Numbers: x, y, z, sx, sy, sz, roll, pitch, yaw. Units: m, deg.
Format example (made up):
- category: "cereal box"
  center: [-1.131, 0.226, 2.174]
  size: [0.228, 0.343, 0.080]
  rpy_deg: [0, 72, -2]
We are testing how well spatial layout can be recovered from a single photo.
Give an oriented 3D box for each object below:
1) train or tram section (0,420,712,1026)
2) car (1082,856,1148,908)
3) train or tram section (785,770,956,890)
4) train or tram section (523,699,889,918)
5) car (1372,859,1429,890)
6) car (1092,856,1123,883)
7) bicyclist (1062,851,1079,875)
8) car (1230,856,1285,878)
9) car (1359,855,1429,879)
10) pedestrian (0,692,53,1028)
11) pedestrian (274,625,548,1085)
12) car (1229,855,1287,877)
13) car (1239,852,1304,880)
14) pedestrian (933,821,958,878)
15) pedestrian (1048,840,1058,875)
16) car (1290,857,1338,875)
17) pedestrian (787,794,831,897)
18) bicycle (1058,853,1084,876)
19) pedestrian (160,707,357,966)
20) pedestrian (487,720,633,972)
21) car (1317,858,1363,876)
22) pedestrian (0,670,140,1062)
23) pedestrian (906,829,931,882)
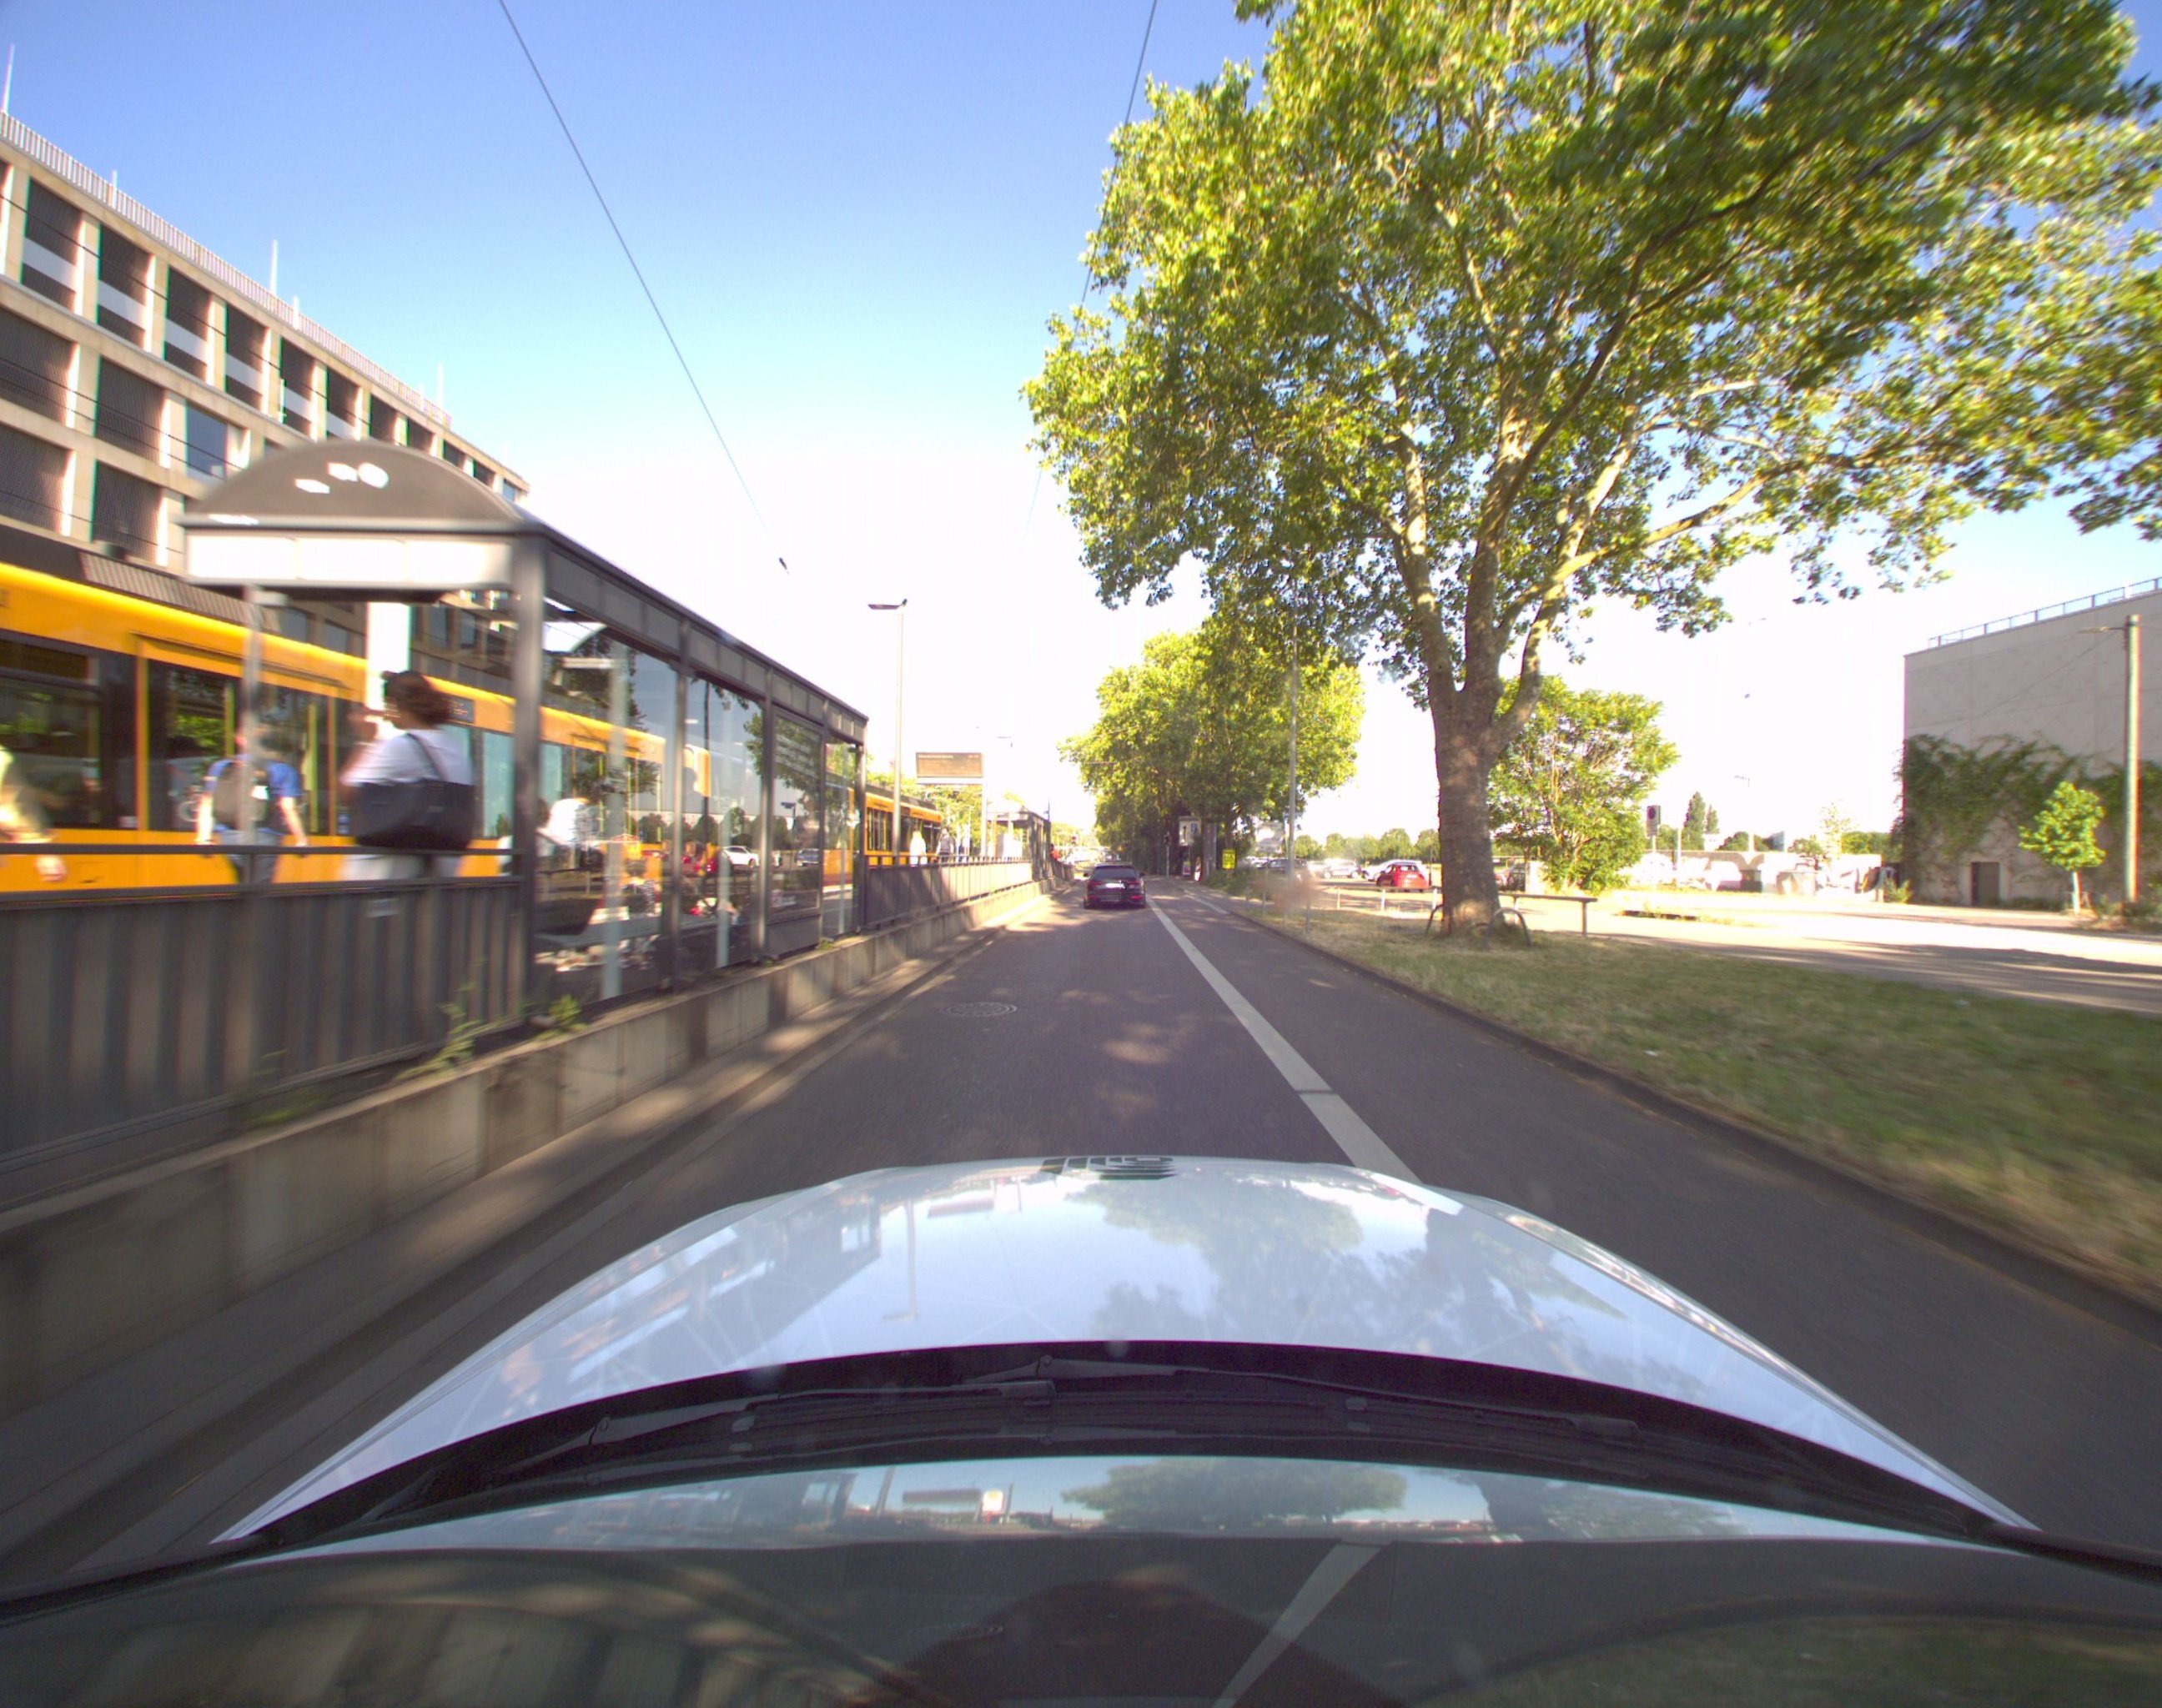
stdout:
- category: "train or tram section"
  center: [-8.426, -0.845, 7.323]
  size: [3.297, 3.829, 14.223]
  rpy_deg: [1, 0, 2]
- category: "car"
  center: [0.990, 0.821, 25.466]
  size: [1.872, 1.457, 3.355]
  rpy_deg: [-1, 0, -1]
- category: "train or tram section"
  center: [-7.736, -0.756, 32.322]
  size: [3.297, 3.829, 11.847]
  rpy_deg: [1, 0, 2]
- category: "train or tram section"
  center: [-8.068, -0.795, 20.408]
  size: [3.297, 3.829, 11.847]
  rpy_deg: [1, 0, 2]
- category: "car"
  center: [16.795, 1.038, 42.956]
  size: [1.608, 1.515, 3.805]
  rpy_deg: [1, 0, 2]
- category: "car"
  center: [1.623, 0.956, 51.464]
  size: [1.757, 1.619, 3.999]
  rpy_deg: [1, 0, 0]
- category: "bicyclist"
  center: [-0.778, 0.666, 59.719]
  size: [0.914, 1.717, 0.761]
  rpy_deg: [2, -1, -43]
- category: "car"
  center: [12.324, 0.890, 56.998]
  size: [3.580, 1.462, 1.679]
  rpy_deg: [1, 0, 2]
- category: "car"
  center: [22.977, 0.959, 59.909]
  size: [4.436, 1.658, 1.921]
  rpy_deg: [1, 0, 5]
- category: "pedestrian"
  center: [-6.130, 0.026, 4.208]
  size: [0.790, 1.784, 0.626]
  rpy_deg: [1, 0, 2]
- category: "pedestrian"
  center: [-2.815, 0.000, 3.486]
  size: [0.609, 1.784, 0.614]
  rpy_deg: [1, 0, 2]
- category: "car"
  center: [12.836, 0.890, 59.210]
  size: [3.870, 1.505, 1.889]
  rpy_deg: [1, 0, 3]
- category: "car"
  center: [12.599, 0.804, 54.032]
  size: [3.971, 1.764, 1.834]
  rpy_deg: [1, -1, 2]
- category: "pedestrian"
  center: [-4.219, -0.137, 25.411]
  size: [0.609, 1.713, 0.659]
  rpy_deg: [1, 0, 0]
- category: "pedestrian"
  center: [-1.378, 0.168, 40.539]
  size: [0.410, 1.717, 0.666]
  rpy_deg: [1, 0, 2]
- category: "car"
  center: [24.179, 1.205, 84.612]
  size: [4.341, 1.816, 1.998]
  rpy_deg: [1, 0, -3]
- category: "pedestrian"
  center: [-5.152, -0.163, 15.442]
  size: [0.550, 1.905, 0.644]
  rpy_deg: [1, -1, 2]
- category: "bicycle"
  center: [-0.733, 0.772, 59.738]
  size: [1.984, 1.717, 0.584]
  rpy_deg: [1, -1, -43]
- category: "pedestrian"
  center: [-6.055, -0.121, 6.040]
  size: [0.609, 1.784, 0.775]
  rpy_deg: [1, 0, 2]
- category: "pedestrian"
  center: [-3.897, -0.056, 6.140]
  size: [0.607, 1.784, 0.681]
  rpy_deg: [1, 0, 2]
- category: "car"
  center: [24.344, 1.187, 76.629]
  size: [3.797, 1.609, 1.671]
  rpy_deg: [1, 0, 2]
- category: "pedestrian"
  center: [-5.204, 0.051, 3.883]
  size: [0.799, 1.784, 0.642]
  rpy_deg: [1, -1, -38]
- category: "pedestrian"
  center: [-5.259, 0.049, 26.329]
  size: [0.655, 1.713, 0.613]
  rpy_deg: [1, 0, -1]
